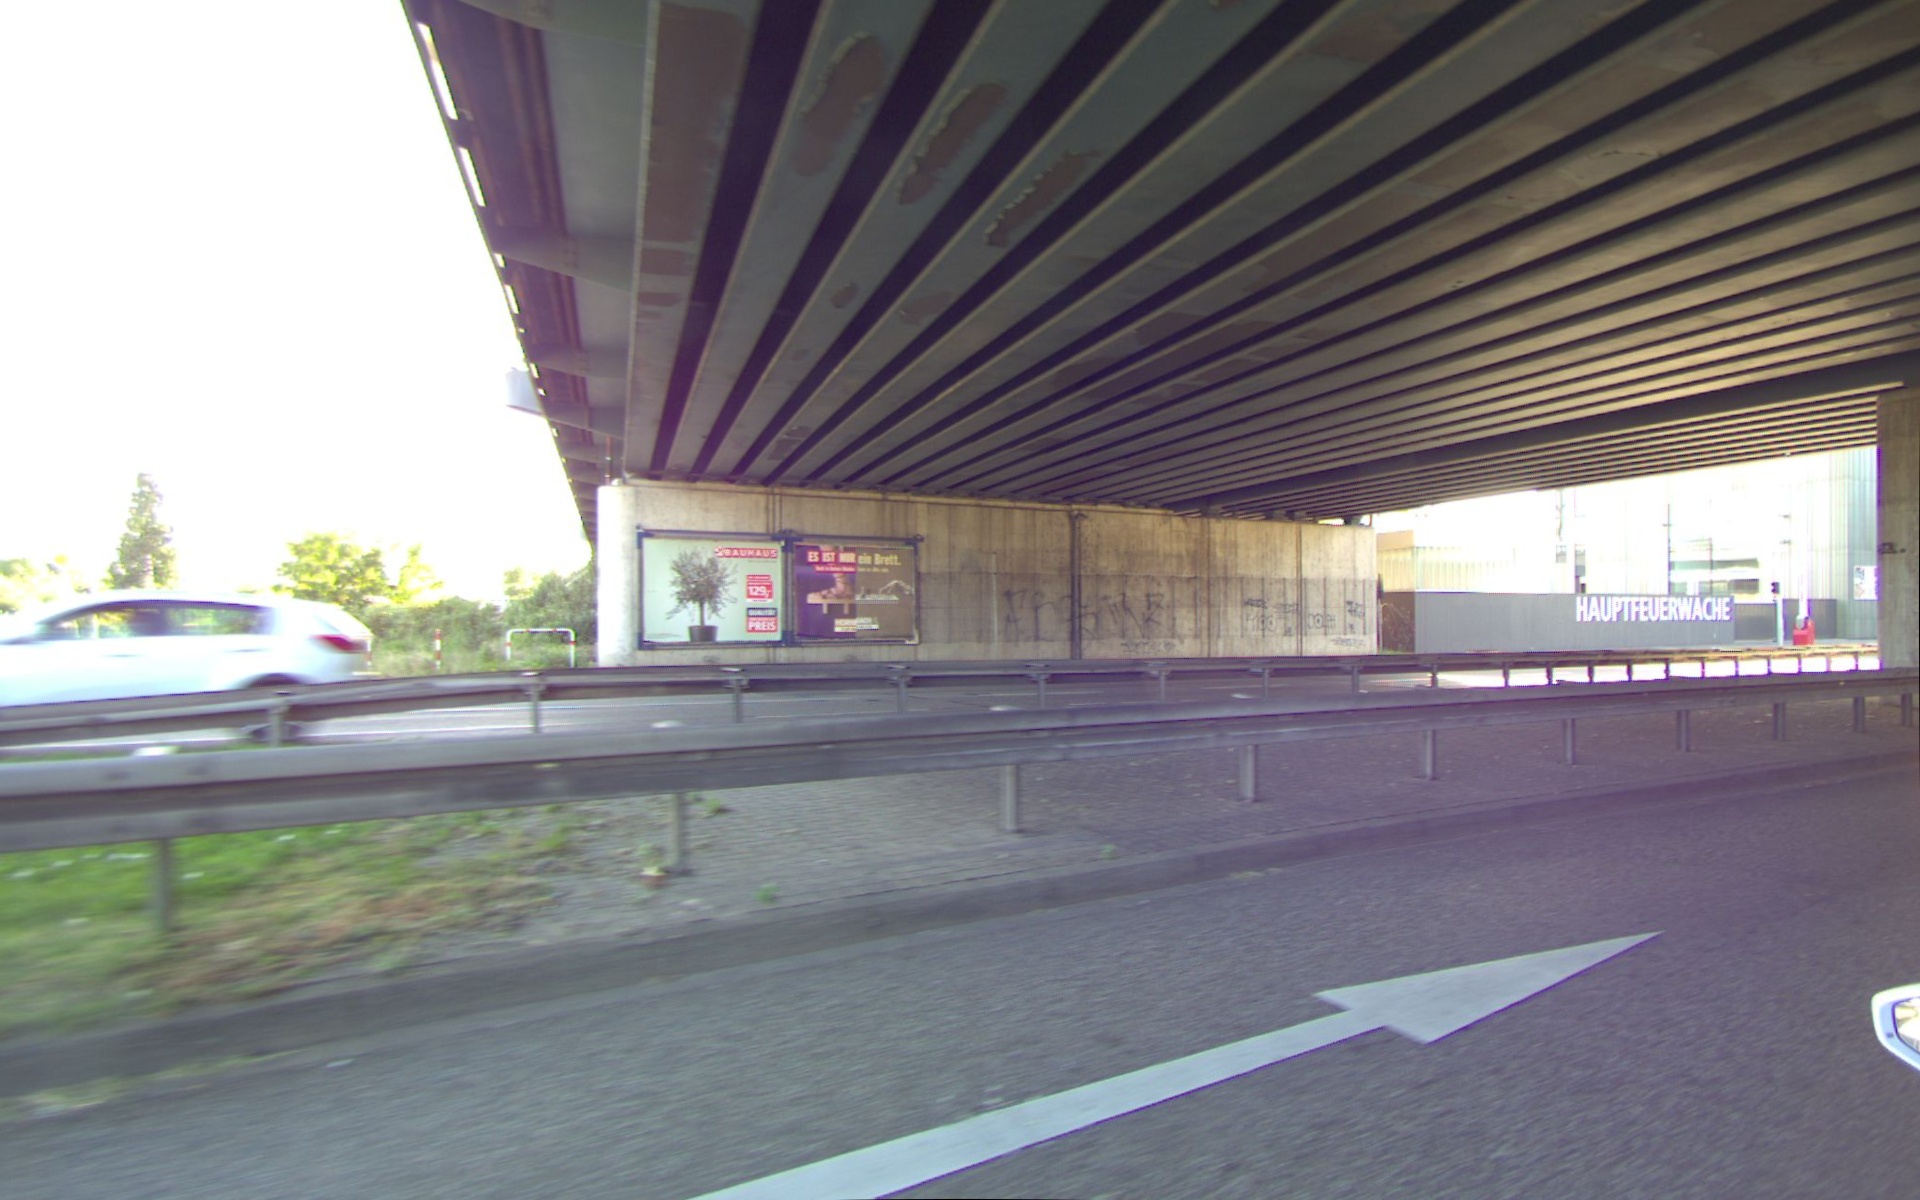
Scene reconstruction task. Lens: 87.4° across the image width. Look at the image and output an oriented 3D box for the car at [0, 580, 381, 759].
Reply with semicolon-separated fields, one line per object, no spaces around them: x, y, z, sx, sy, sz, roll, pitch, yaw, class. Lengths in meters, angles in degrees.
-8.508;0.655;10.379;4.252;1.628;1.789;2;-1;-35;car
